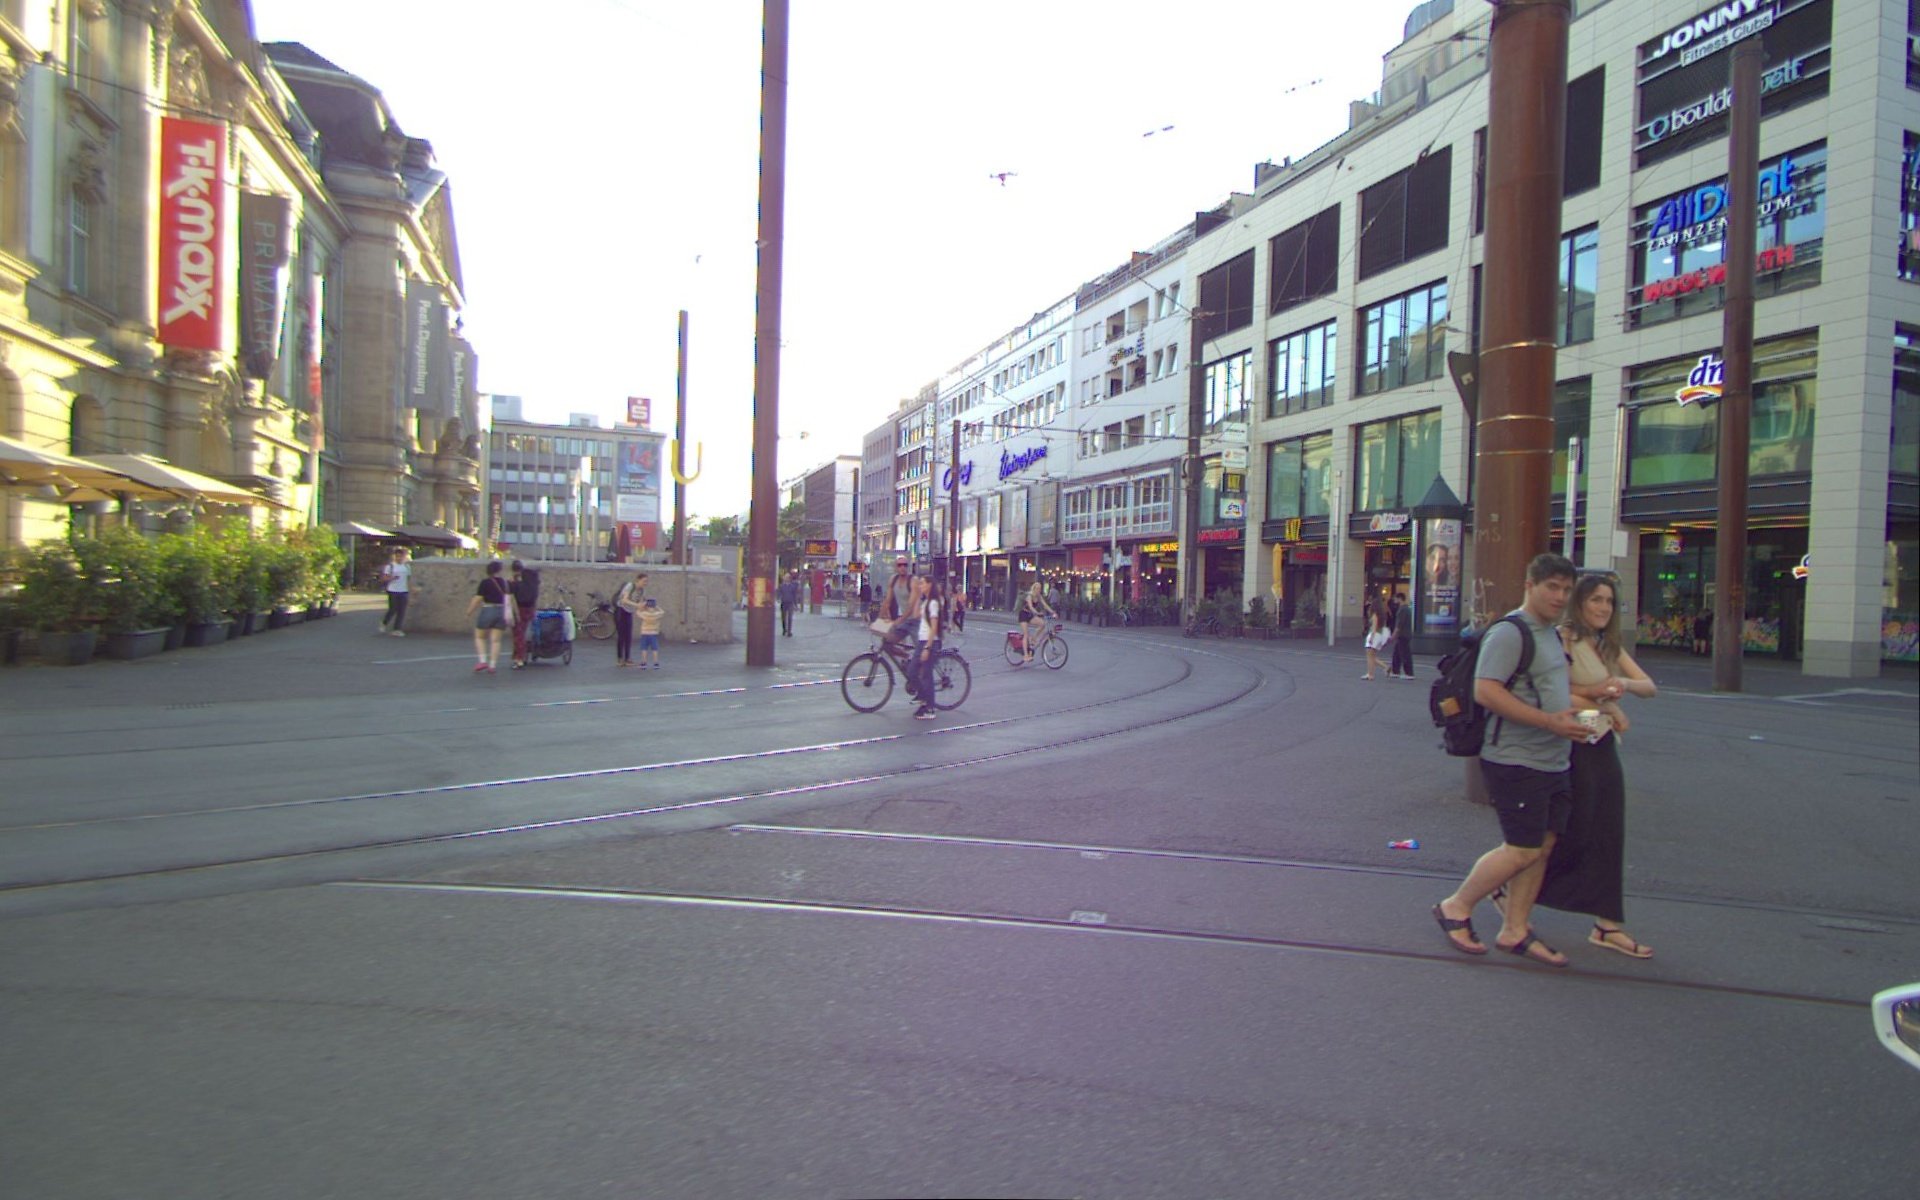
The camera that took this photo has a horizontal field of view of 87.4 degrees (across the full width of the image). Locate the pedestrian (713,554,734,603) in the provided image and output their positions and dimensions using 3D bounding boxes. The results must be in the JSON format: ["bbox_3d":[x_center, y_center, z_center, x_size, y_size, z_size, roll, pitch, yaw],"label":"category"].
[{"bbox_3d":[-8.454,-0.763,35.884,0.640,1.697,0.713,1,1,-19],"label":"pedestrian"}]

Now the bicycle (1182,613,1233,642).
[{"bbox_3d":[9.786,1.077,39.738,1.888,0.999,0.451,3,2,16],"label":"bicycle"}]

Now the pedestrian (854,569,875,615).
[{"bbox_3d":[-3.547,-0.306,37.217,0.640,1.697,0.528,1,1,-19],"label":"pedestrian"}]

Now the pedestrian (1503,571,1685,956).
[{"bbox_3d":[2.874,0.683,4.563,0.445,1.614,0.564,1,1,-43],"label":"pedestrian"}]

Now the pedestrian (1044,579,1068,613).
[{"bbox_3d":[4.910,-0.212,51.212,0.886,1.658,0.949,1,0,-16],"label":"pedestrian"}]

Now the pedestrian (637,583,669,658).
[{"bbox_3d":[-5.181,0.342,16.967,0.477,1.260,0.410,1,1,-20],"label":"pedestrian"}]

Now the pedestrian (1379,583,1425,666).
[{"bbox_3d":[9.158,0.507,20.816,0.640,1.697,0.528,1,1,-19],"label":"pedestrian"}]

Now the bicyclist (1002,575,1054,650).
[{"bbox_3d":[1.412,0.248,20.907,0.860,1.485,0.597,4,3,37],"label":"bicyclist"}]

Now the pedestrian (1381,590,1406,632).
[{"bbox_3d":[17.978,0.465,41.657,0.566,1.703,0.673,1,2,-19],"label":"pedestrian"}]

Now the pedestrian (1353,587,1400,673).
[{"bbox_3d":[8.354,0.603,20.164,0.640,1.697,0.528,1,1,-19],"label":"pedestrian"}]

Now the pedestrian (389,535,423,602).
[{"bbox_3d":[-14.719,-0.833,26.688,0.711,1.729,0.495,2,2,-26],"label":"pedestrian"}]

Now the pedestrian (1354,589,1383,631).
[{"bbox_3d":[17.068,0.397,41.965,0.673,1.703,0.813,1,2,-19],"label":"pedestrian"}]

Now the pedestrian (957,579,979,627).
[{"bbox_3d":[0.290,0.109,35.218,0.574,1.658,0.685,2,0,15],"label":"pedestrian"}]

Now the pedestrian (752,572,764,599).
[{"bbox_3d":[-10.102,-0.719,50.244,0.445,1.317,0.427,1,3,-25],"label":"pedestrian"}]

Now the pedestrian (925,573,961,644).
[{"bbox_3d":[-0.412,0.206,24.258,0.741,1.697,0.529,1,1,-13],"label":"pedestrian"}]

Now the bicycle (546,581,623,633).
[{"bbox_3d":[-8.342,0.167,22.375,1.555,1.100,0.449,2,2,-17],"label":"bicycle"}]

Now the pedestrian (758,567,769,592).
[{"bbox_3d":[-10.598,-1.093,54.144,0.445,1.317,0.427,1,3,-25],"label":"pedestrian"}]

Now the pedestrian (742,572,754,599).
[{"bbox_3d":[-10.400,-0.703,49.348,0.445,1.317,0.427,1,3,-25],"label":"pedestrian"}]

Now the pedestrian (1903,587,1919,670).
[{"bbox_3d":[22.257,0.666,22.949,0.801,1.880,0.574,2,2,-8],"label":"pedestrian"}]

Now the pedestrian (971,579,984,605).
[{"bbox_3d":[1.130,-0.522,65.093,0.674,1.658,0.583,1,0,-18],"label":"pedestrian"}]

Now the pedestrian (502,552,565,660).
[{"bbox_3d":[-6.695,0.087,15.757,0.663,1.636,0.762,0,1,-45],"label":"pedestrian"}]

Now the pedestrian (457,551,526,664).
[{"bbox_3d":[-7.006,0.100,15.026,0.689,1.636,0.812,0,1,-45],"label":"pedestrian"}]

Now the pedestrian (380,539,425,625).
[{"bbox_3d":[-11.340,-0.364,20.423,0.714,1.729,0.493,1,2,-37],"label":"pedestrian"}]

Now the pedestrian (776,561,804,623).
[{"bbox_3d":[-4.738,-0.216,27.923,0.640,1.697,0.713,1,1,-19],"label":"pedestrian"}]

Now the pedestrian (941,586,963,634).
[{"bbox_3d":[-0.295,0.364,35.419,0.574,1.658,0.685,2,0,15],"label":"pedestrian"}]

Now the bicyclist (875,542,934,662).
[{"bbox_3d":[-0.689,0.026,12.427,0.556,1.446,0.419,1,2,-27],"label":"bicyclist"}]

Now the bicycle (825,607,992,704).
[{"bbox_3d":[-0.623,0.679,12.508,1.996,1.113,0.570,1,2,-27],"label":"bicycle"}]

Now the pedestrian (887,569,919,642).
[{"bbox_3d":[-1.351,0.132,23.789,0.639,1.697,0.529,1,1,-13],"label":"pedestrian"}]

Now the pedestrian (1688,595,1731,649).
[{"bbox_3d":[22.213,0.640,29.777,0.776,1.547,0.574,2,2,-8],"label":"pedestrian"}]

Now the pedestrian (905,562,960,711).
[{"bbox_3d":[-0.334,0.420,11.839,0.521,1.697,0.649,1,1,-11],"label":"pedestrian"}]

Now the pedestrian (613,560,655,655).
[{"bbox_3d":[-5.615,0.129,17.299,0.641,1.594,0.478,1,1,-20],"label":"pedestrian"}]

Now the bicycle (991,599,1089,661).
[{"bbox_3d":[1.633,0.599,20.744,1.887,1.130,0.698,3,2,36],"label":"bicycle"}]

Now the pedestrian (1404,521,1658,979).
[{"bbox_3d":[2.406,0.562,4.253,0.605,1.723,0.737,1,1,-42],"label":"pedestrian"}]

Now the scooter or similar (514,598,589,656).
[{"bbox_3d":[-6.891,0.442,16.932,0.883,0.916,1.084,1,1,-40],"label":"scooter or similar"}]
